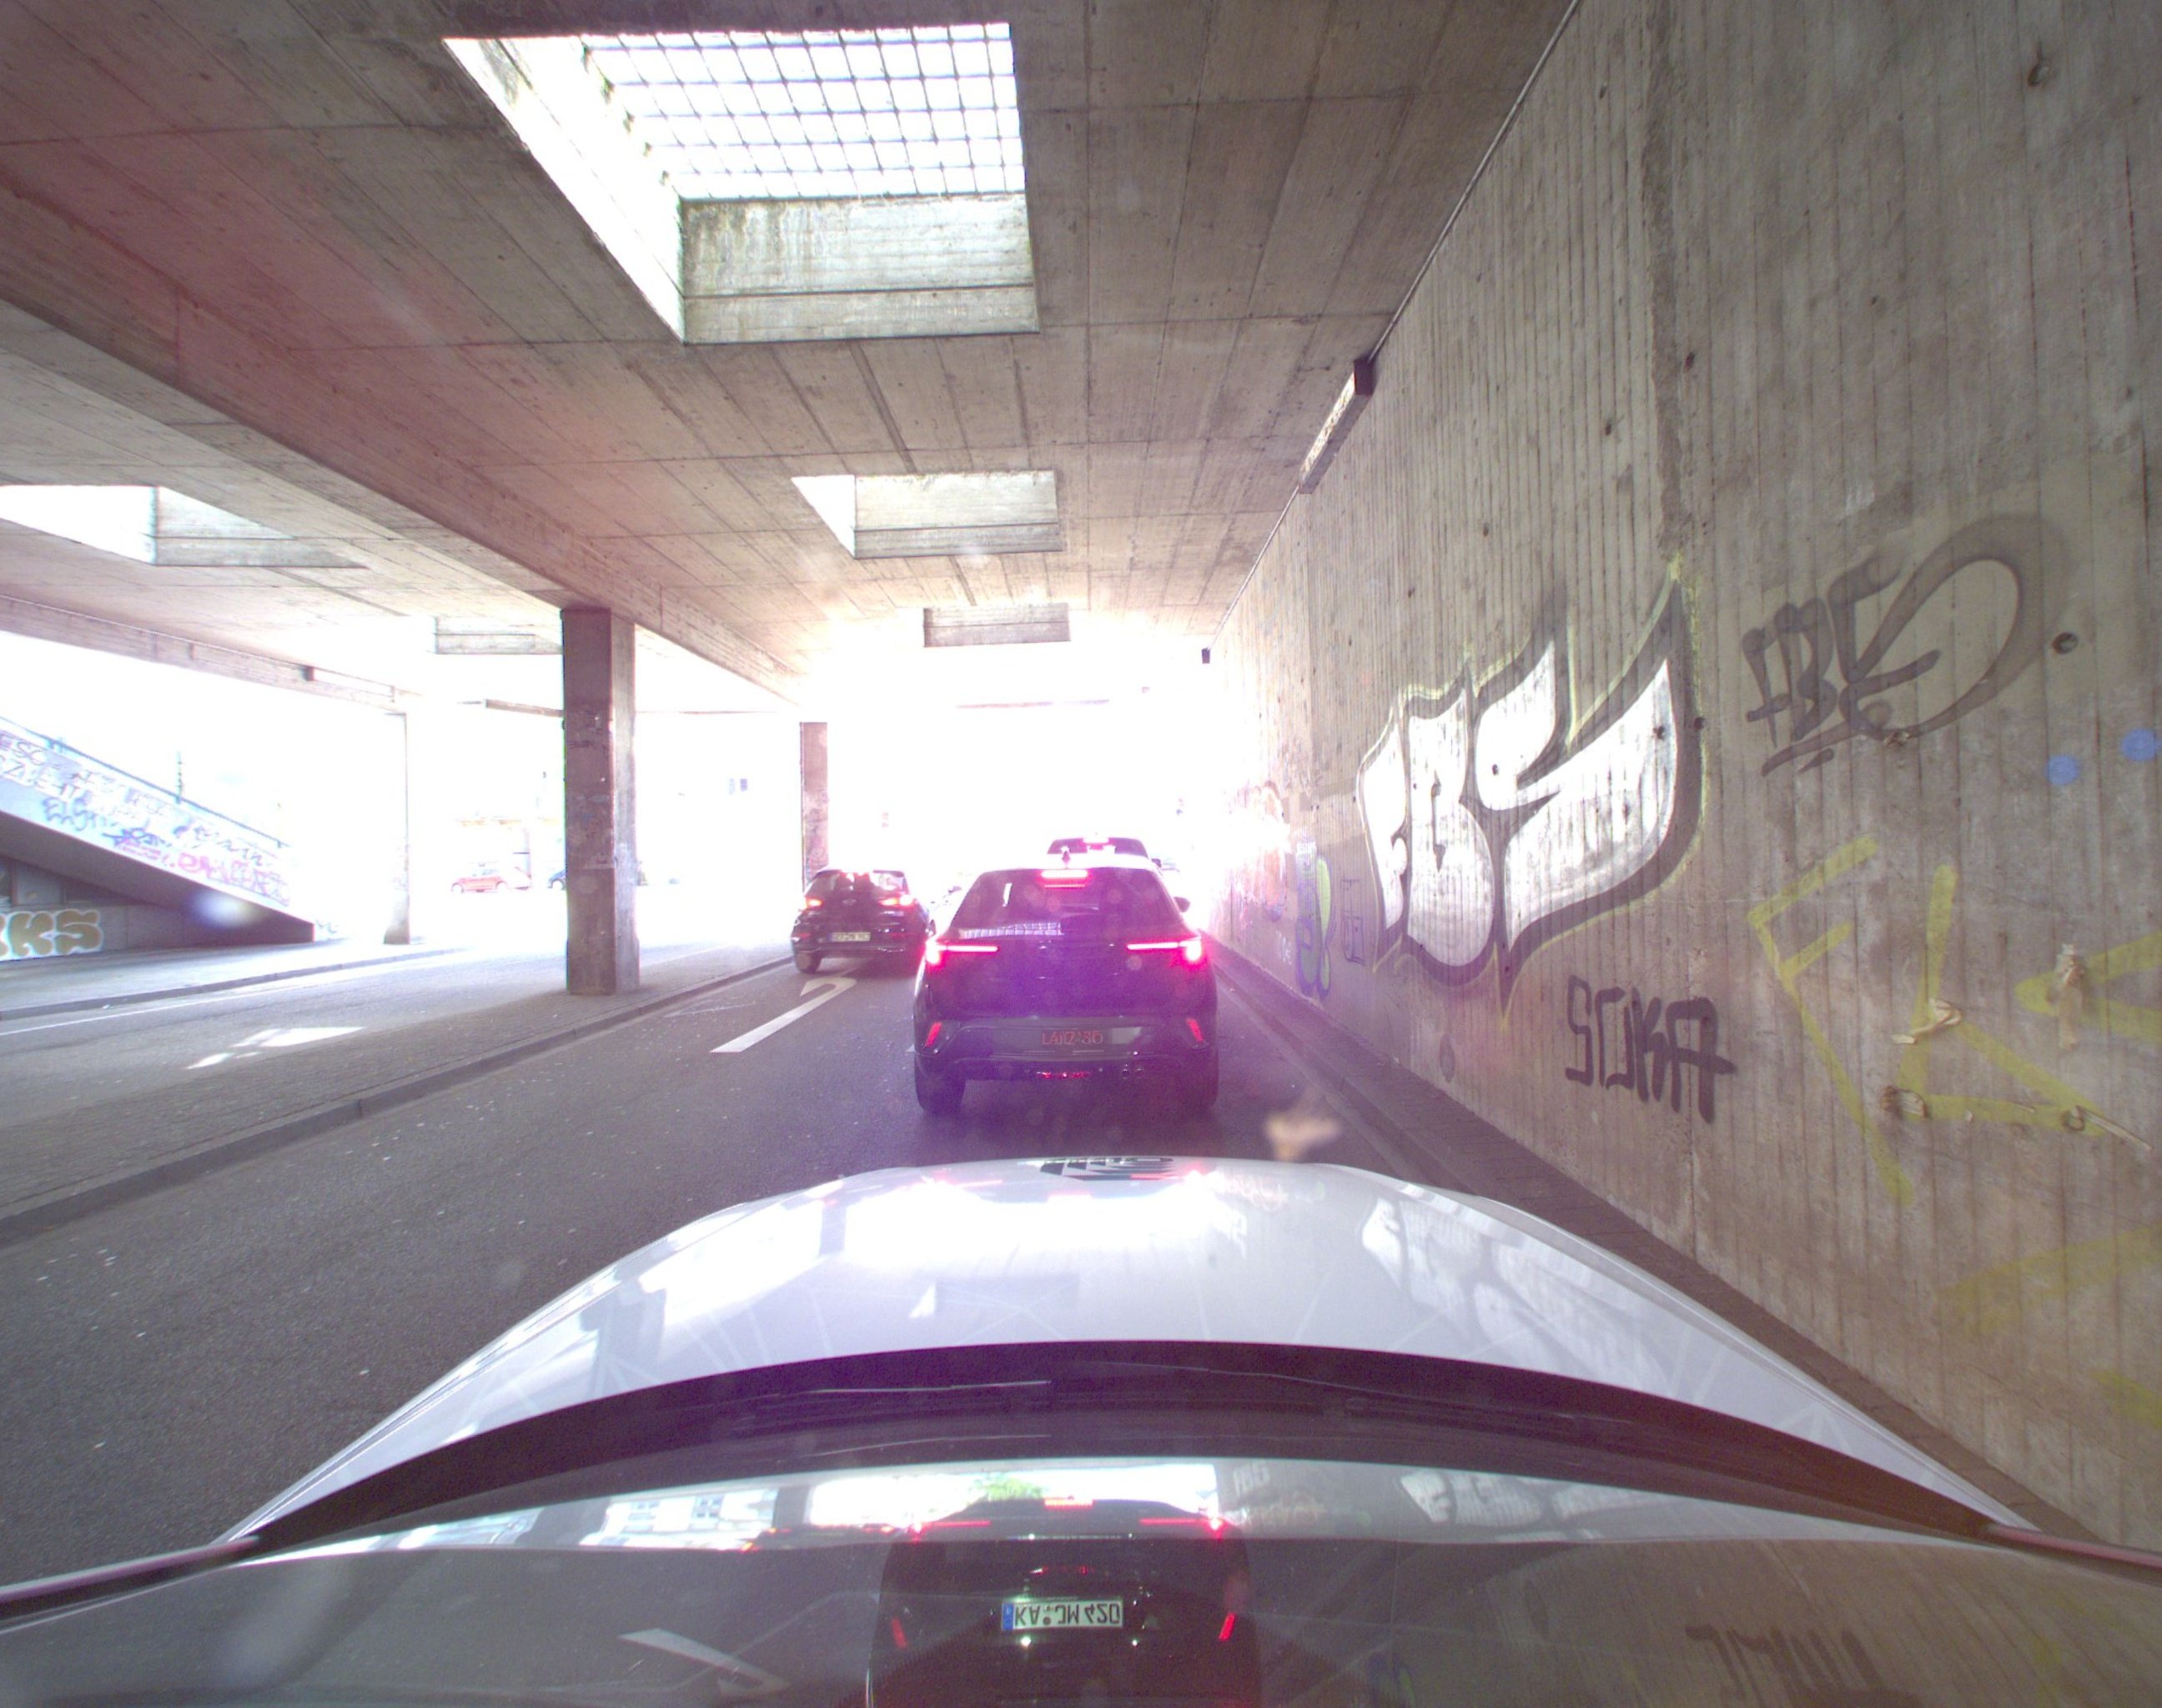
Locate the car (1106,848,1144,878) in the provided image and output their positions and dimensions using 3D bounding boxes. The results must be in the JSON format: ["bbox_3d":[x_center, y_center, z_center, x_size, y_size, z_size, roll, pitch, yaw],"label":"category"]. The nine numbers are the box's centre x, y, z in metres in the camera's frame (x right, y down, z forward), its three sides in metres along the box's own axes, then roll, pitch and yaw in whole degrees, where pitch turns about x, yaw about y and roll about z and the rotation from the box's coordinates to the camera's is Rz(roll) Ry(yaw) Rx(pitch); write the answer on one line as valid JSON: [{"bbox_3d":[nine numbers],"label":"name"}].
[{"bbox_3d":[2.408,0.509,44.300,1.959,1.497,3.900,-2,-2,4],"label":"car"}]

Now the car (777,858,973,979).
[{"bbox_3d":[-2.784,0.794,12.004,1.773,1.447,4.178,0,0,1],"label":"car"}]

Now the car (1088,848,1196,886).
[{"bbox_3d":[2.716,0.564,36.150,4.348,1.552,1.893,-1,0,21],"label":"car"}]

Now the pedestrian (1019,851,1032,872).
[{"bbox_3d":[-5.446,0.708,80.619,0.986,2.013,1.091,-2,0,10],"label":"pedestrian"}]

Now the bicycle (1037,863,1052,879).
[{"bbox_3d":[-2.439,1.115,54.853,0.621,1.067,1.694,-1,-1,11],"label":"bicycle"}]

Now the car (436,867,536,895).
[{"bbox_3d":[-33.013,1.463,45.272,3.970,1.374,2.192,-1,0,3],"label":"car"}]

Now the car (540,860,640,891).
[{"bbox_3d":[-27.209,1.176,45.272,4.114,1.550,2.268,-1,0,1],"label":"car"}]

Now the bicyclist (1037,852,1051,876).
[{"bbox_3d":[-2.480,0.674,54.636,0.724,1.581,0.817,-1,-1,11],"label":"bicyclist"}]

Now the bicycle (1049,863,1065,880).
[{"bbox_3d":[-1.549,1.102,52.330,0.621,1.067,1.694,-1,-1,11],"label":"bicycle"}]

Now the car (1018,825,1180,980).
[{"bbox_3d":[0.285,0.596,12.041,1.938,1.860,3.966,-2,0,2],"label":"car"}]

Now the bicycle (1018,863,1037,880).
[{"bbox_3d":[-3.389,1.110,51.777,0.727,1.067,1.694,-1,-1,11],"label":"bicycle"}]

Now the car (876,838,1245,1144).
[{"bbox_3d":[-0.047,0.712,6.221,1.875,1.538,3.966,-2,0,2],"label":"car"}]

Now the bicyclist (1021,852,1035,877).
[{"bbox_3d":[-3.379,0.653,51.812,0.724,1.581,0.817,-1,-1,11],"label":"bicyclist"}]

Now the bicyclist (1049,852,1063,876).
[{"bbox_3d":[-1.574,0.645,52.313,0.724,1.581,0.817,-1,-1,11],"label":"bicyclist"}]
